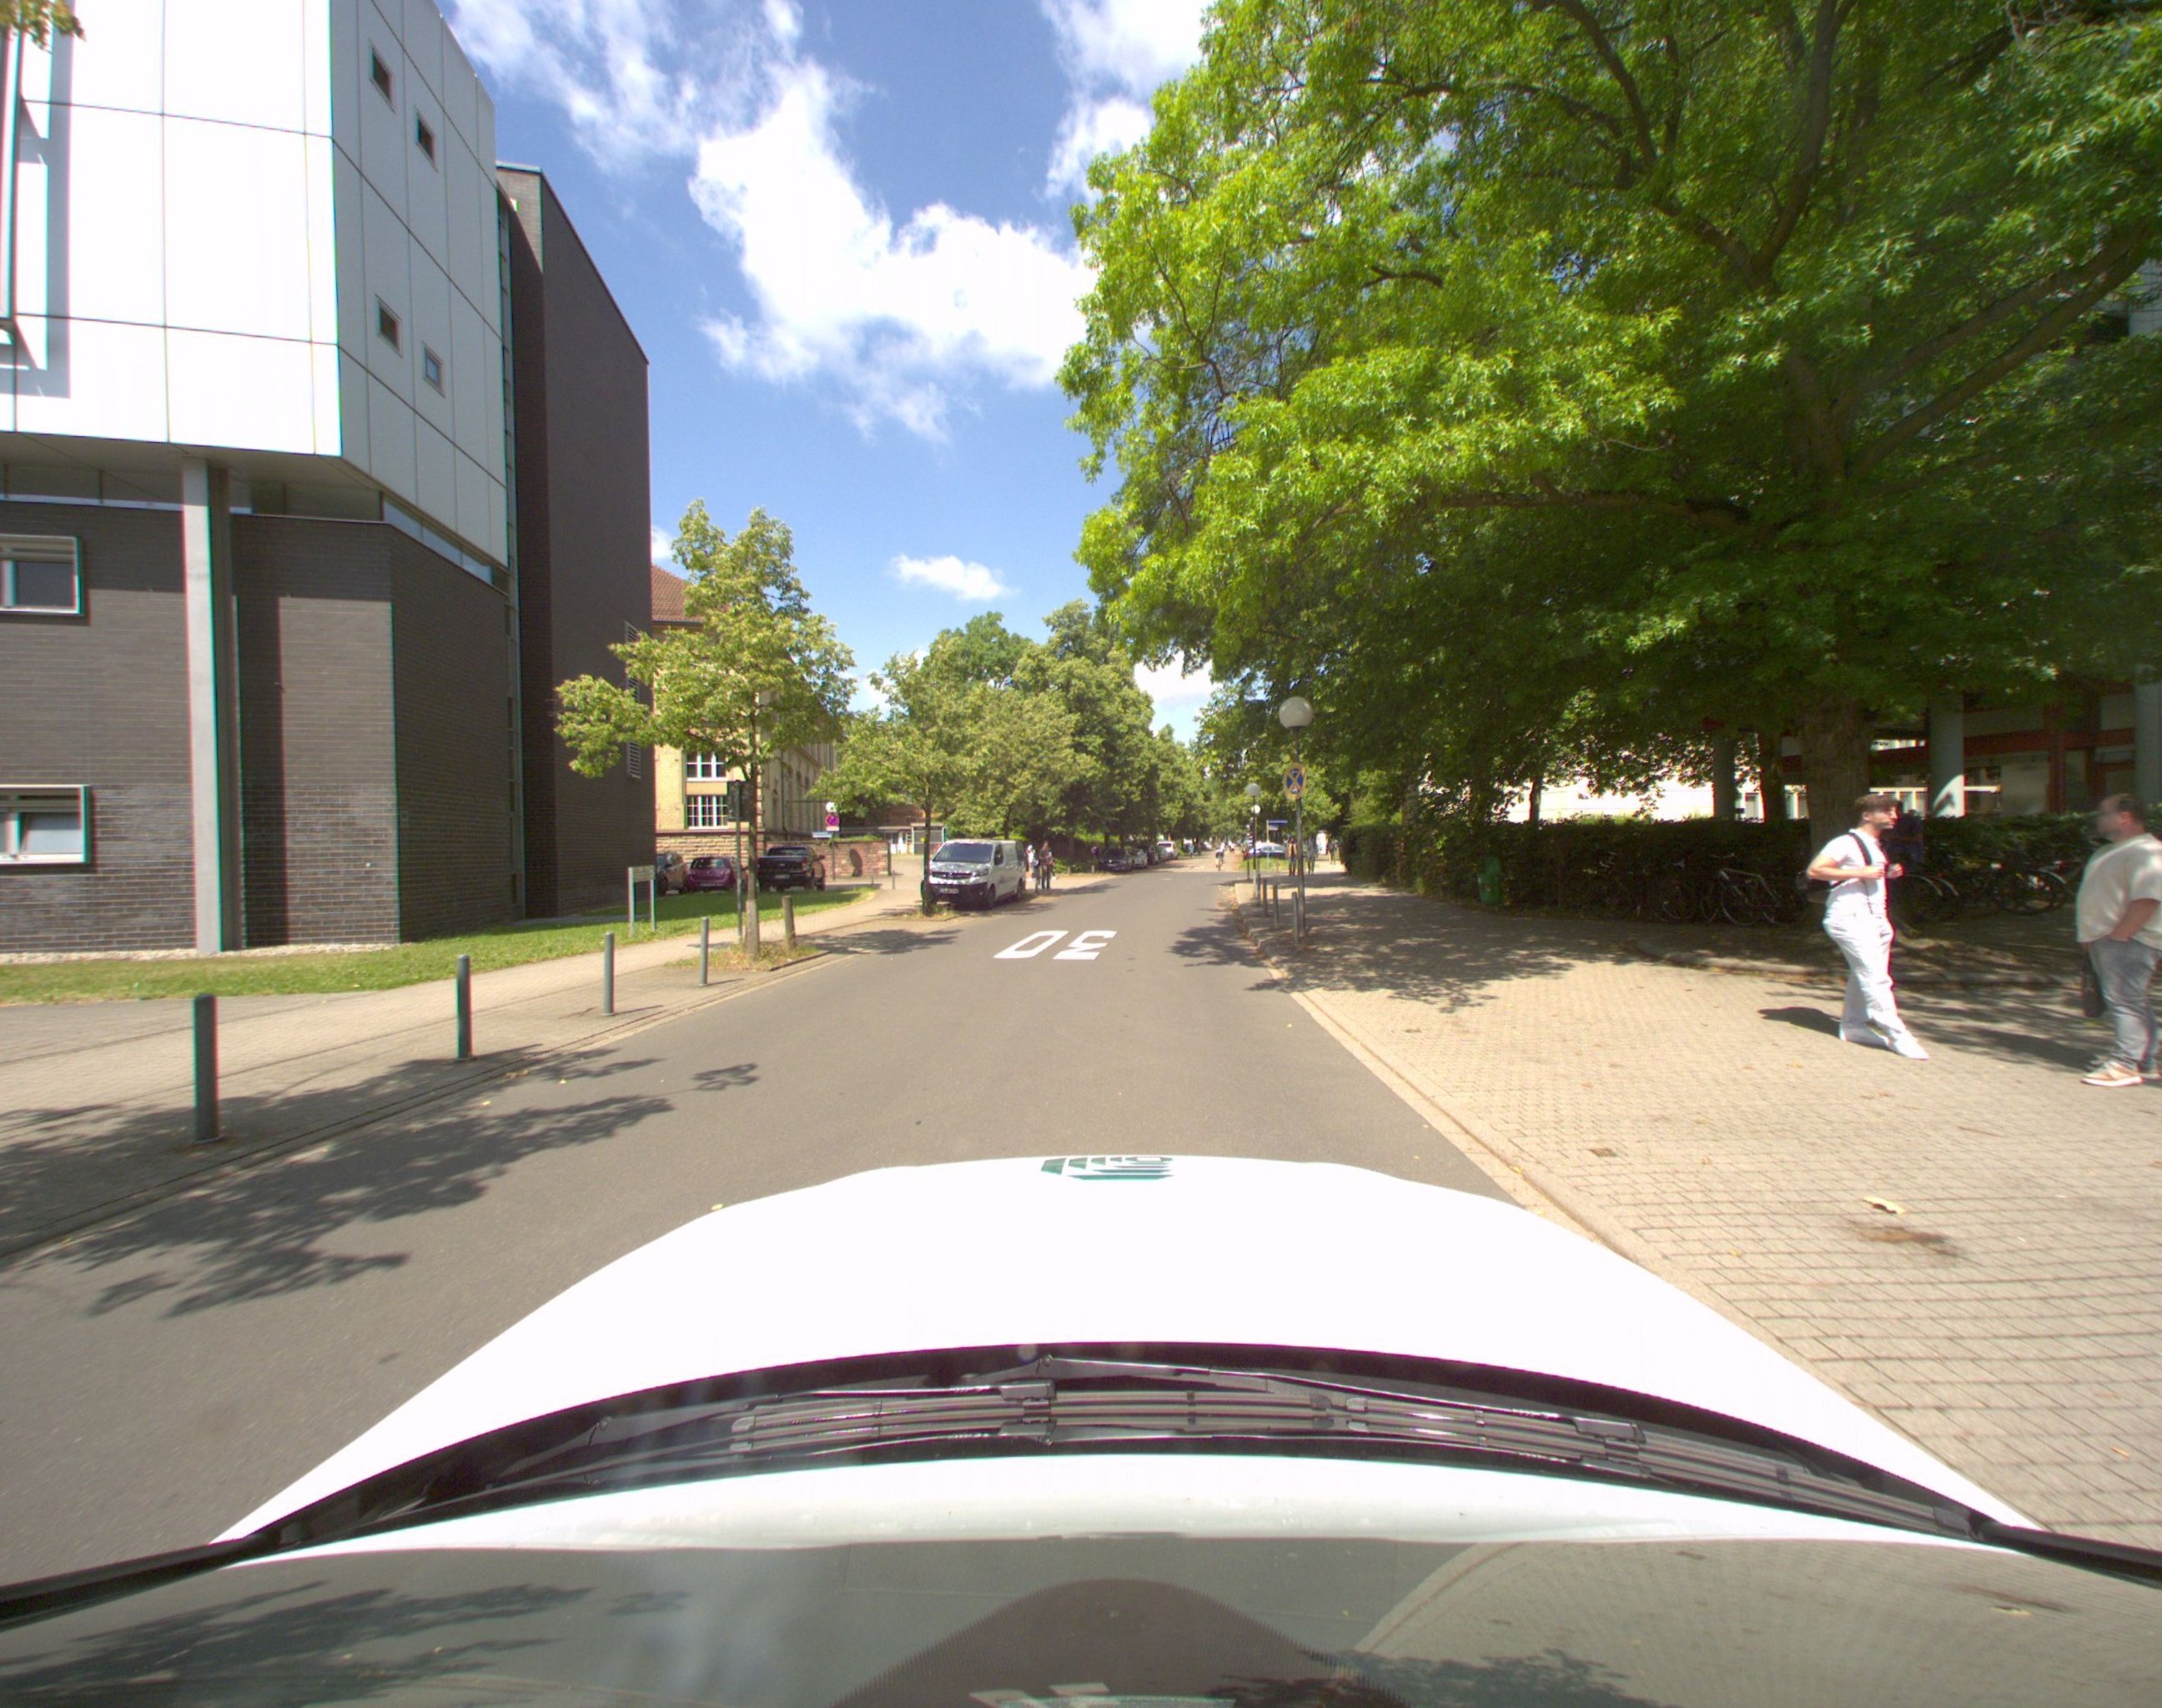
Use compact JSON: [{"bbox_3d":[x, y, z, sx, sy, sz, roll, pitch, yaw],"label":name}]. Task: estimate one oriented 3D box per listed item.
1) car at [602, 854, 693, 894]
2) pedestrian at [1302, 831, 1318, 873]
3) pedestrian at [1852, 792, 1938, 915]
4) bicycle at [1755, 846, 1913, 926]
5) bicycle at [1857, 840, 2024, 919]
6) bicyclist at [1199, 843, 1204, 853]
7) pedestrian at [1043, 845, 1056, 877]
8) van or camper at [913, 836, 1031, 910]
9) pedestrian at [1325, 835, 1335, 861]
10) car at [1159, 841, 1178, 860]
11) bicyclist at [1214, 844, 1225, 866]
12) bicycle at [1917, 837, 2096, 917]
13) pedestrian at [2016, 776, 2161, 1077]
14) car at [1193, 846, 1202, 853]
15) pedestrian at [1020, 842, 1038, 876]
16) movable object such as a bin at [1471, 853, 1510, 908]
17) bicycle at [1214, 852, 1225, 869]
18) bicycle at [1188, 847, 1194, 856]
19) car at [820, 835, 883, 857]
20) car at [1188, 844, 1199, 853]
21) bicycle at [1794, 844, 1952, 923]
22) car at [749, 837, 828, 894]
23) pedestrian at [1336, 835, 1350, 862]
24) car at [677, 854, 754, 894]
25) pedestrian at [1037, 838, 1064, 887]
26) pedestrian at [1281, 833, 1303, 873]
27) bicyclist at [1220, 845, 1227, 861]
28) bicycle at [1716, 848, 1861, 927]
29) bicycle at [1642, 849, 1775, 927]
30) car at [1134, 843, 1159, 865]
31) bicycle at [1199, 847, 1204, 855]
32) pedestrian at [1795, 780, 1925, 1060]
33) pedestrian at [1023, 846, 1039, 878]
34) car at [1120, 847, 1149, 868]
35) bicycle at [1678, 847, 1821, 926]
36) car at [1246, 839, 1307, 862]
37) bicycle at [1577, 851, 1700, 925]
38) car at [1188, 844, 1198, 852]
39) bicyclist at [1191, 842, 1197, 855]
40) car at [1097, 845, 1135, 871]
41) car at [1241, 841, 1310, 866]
[{"bbox_3d":[-15.614,0.682,29.563,1.818,1.324,4.146,1,0,-12],"label":"car"},{"bbox_3d":[10.263,-0.092,36.478,0.666,1.872,0.795,-1,0,16],"label":"pedestrian"},{"bbox_3d":[12.651,-0.013,12.676,0.542,1.837,0.760,-1,0,-5],"label":"pedestrian"},{"bbox_3d":[11.445,0.448,12.473,0.498,1.119,1.936,-1,0,-5],"label":"bicycle"},{"bbox_3d":[13.251,0.358,12.639,0.498,1.119,1.868,-1,0,-5],"label":"bicycle"},{"bbox_3d":[15.290,-0.788,103.577,0.604,1.295,0.612,-1,0,9],"label":"bicyclist"},{"bbox_3d":[-1.559,0.331,40.494,0.496,1.585,0.490,-1,0,-24],"label":"pedestrian"},{"bbox_3d":[-3.014,0.453,23.923,1.942,1.923,5.434,0,1,9],"label":"van or camper"},{"bbox_3d":[16.580,-0.405,54.203,0.597,1.755,0.631,-1,0,17],"label":"pedestrian"},{"bbox_3d":[8.735,-0.398,81.257,1.606,1.815,4.011,-1,1,10],"label":"car"},{"bbox_3d":[8.449,0.053,49.637,0.606,1.295,0.612,-1,0,9],"label":"bicyclist"},{"bbox_3d":[14.038,0.321,12.441,0.498,1.119,1.868,-1,0,-5],"label":"bicycle"},{"bbox_3d":[6.251,0.408,5.014,0.557,1.710,0.750,-1,0,43],"label":"pedestrian"},{"bbox_3d":[21.686,-0.874,151.713,1.606,1.364,4.010,-1,1,9],"label":"car"},{"bbox_3d":[-2.606,0.248,40.727,0.632,1.663,0.596,-1,0,-39],"label":"pedestrian"},{"bbox_3d":[8.166,0.524,16.253,0.488,1.072,0.504,-1,0,-4],"label":"movable object such as a bin"},{"bbox_3d":[8.468,0.383,49.718,0.610,1.001,1.427,-1,0,10],"label":"bicycle"},{"bbox_3d":[12.600,-0.319,93.529,0.574,1.001,1.427,-1,0,10],"label":"bicycle"},{"bbox_3d":[-16.585,-0.595,58.854,4.112,1.517,1.740,-1,1,-28],"label":"car"},{"bbox_3d":[17.786,-0.843,128.876,1.606,1.364,4.010,-1,1,9],"label":"car"},{"bbox_3d":[12.105,0.414,12.538,0.498,1.119,1.868,-1,0,-5],"label":"bicycle"},{"bbox_3d":[-10.881,0.366,30.672,2.177,1.925,5.163,-1,1,-13],"label":"car"},{"bbox_3d":[17.298,-0.390,53.801,0.815,1.755,0.631,-1,0,16],"label":"pedestrian"},{"bbox_3d":[-13.382,0.679,30.026,1.819,1.324,3.752,-1,1,-12],"label":"car"},{"bbox_3d":[-1.162,0.312,31.120,0.717,1.857,0.796,-1,0,27],"label":"pedestrian"},{"bbox_3d":[9.460,-0.045,36.466,0.814,1.755,0.845,-1,0,22],"label":"pedestrian"},{"bbox_3d":[11.750,-0.108,67.278,0.519,1.295,0.612,-1,0,10],"label":"bicyclist"},{"bbox_3d":[10.858,0.469,12.590,0.498,1.119,1.868,-1,0,-5],"label":"bicycle"},{"bbox_3d":[9.777,0.485,12.782,0.498,1.119,1.868,-1,0,-5],"label":"bicycle"},{"bbox_3d":[5.369,-0.040,66.254,1.606,1.679,4.011,-1,1,10],"label":"car"},{"bbox_3d":[15.285,-0.439,103.518,0.610,1.001,1.427,-1,0,10],"label":"bicycle"},{"bbox_3d":[5.511,0.425,5.785,0.622,1.821,0.728,-1,0,43],"label":"pedestrian"},{"bbox_3d":[-2.424,0.383,39.458,0.587,1.527,0.489,-1,0,-31],"label":"pedestrian"},{"bbox_3d":[3.795,0.207,57.686,1.606,1.387,4.011,-1,1,10],"label":"car"},{"bbox_3d":[10.314,0.461,12.659,0.498,1.119,1.932,-1,0,-5],"label":"bicycle"},{"bbox_3d":[14.365,-0.248,60.004,4.229,1.588,1.816,-2,0,10],"label":"car"},{"bbox_3d":[9.113,0.511,13.412,0.618,1.119,1.868,-1,0,-6],"label":"bicycle"},{"bbox_3d":[19.130,-1.025,138.835,1.606,1.364,4.574,-1,1,9],"label":"car"},{"bbox_3d":[12.971,-0.651,93.517,0.560,1.498,0.830,-1,0,10],"label":"bicyclist"},{"bbox_3d":[2.200,0.212,50.188,1.749,1.521,4.123,-1,1,10],"label":"car"},{"bbox_3d":[13.125,-0.048,55.229,4.457,1.525,1.816,-2,0,10],"label":"car"}]
